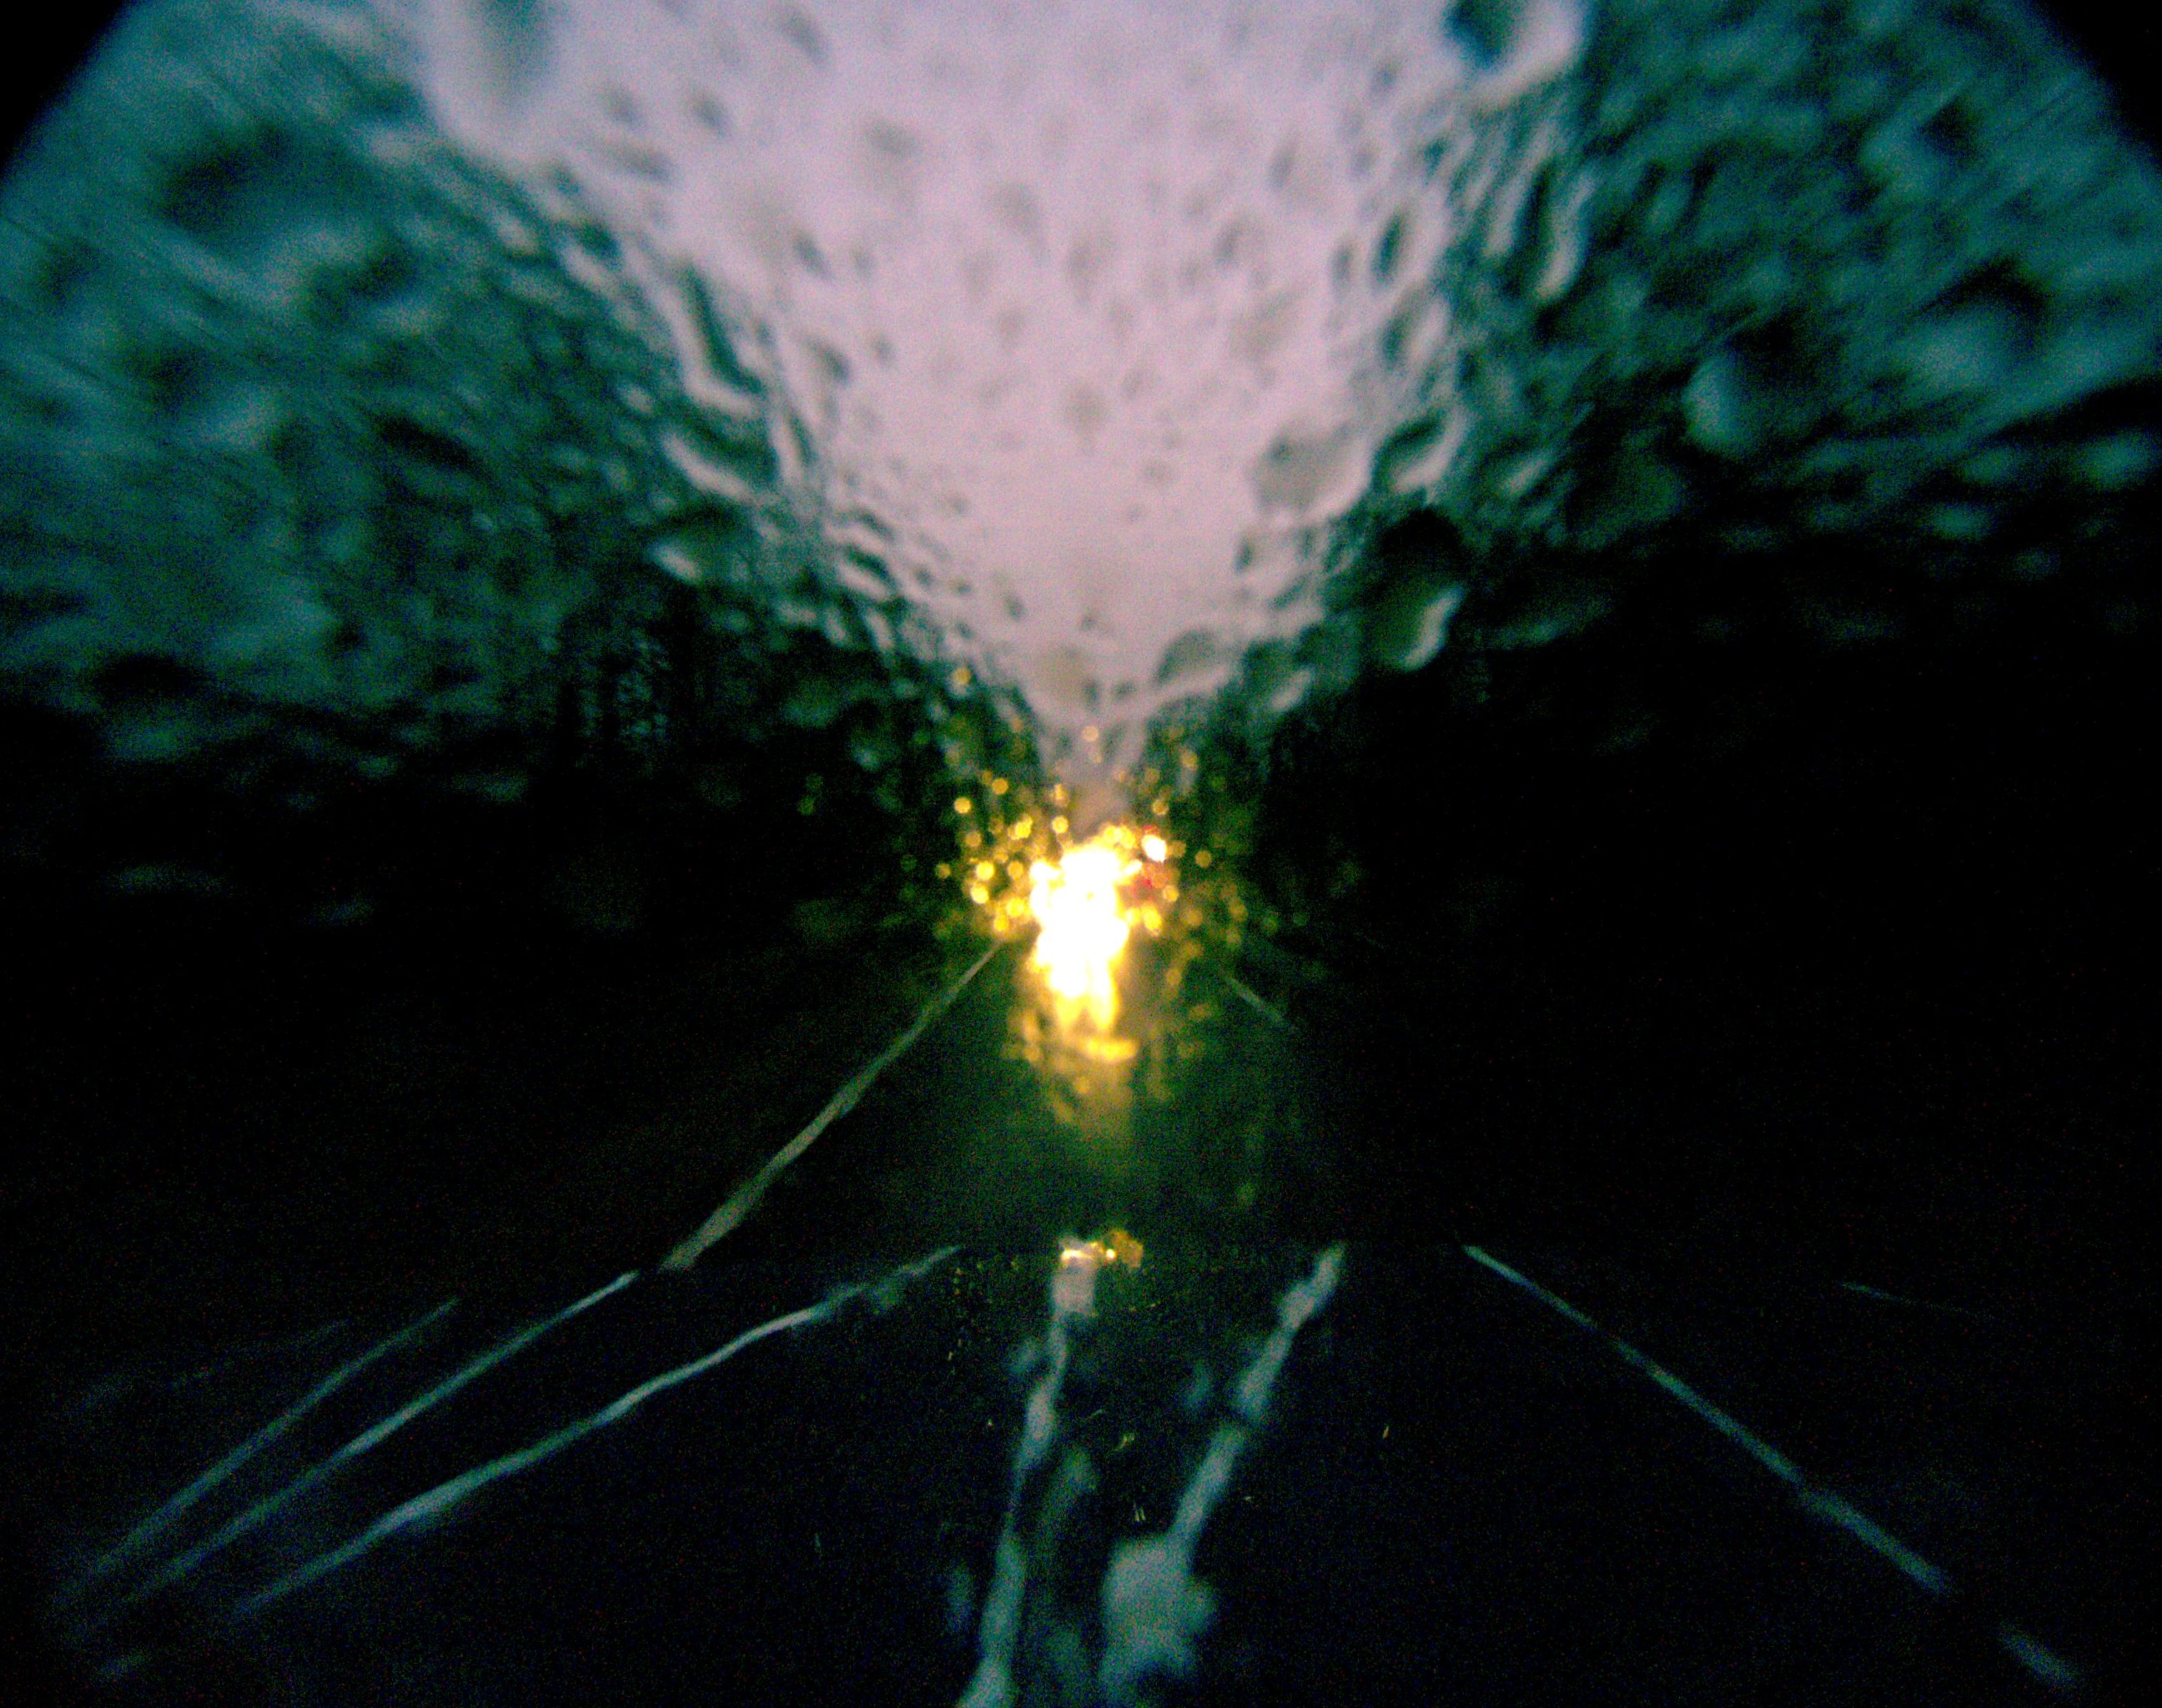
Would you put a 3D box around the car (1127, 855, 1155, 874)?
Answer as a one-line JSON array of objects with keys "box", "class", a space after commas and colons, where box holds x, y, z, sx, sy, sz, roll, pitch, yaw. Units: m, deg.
[{"box": [4.495, 0.758, 57.185, 1.708, 1.355, 4.376, 0, 0, 0], "class": "car"}]

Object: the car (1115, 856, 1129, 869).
[{"box": [4.808, 1.003, 88.561, 1.517, 1.405, 3.660, 0, 0, 1], "class": "car"}]

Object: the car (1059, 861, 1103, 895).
[{"box": [0.046, 1.030, 33.927, 1.845, 1.390, 4.000, -1, 0, 1], "class": "car"}]
